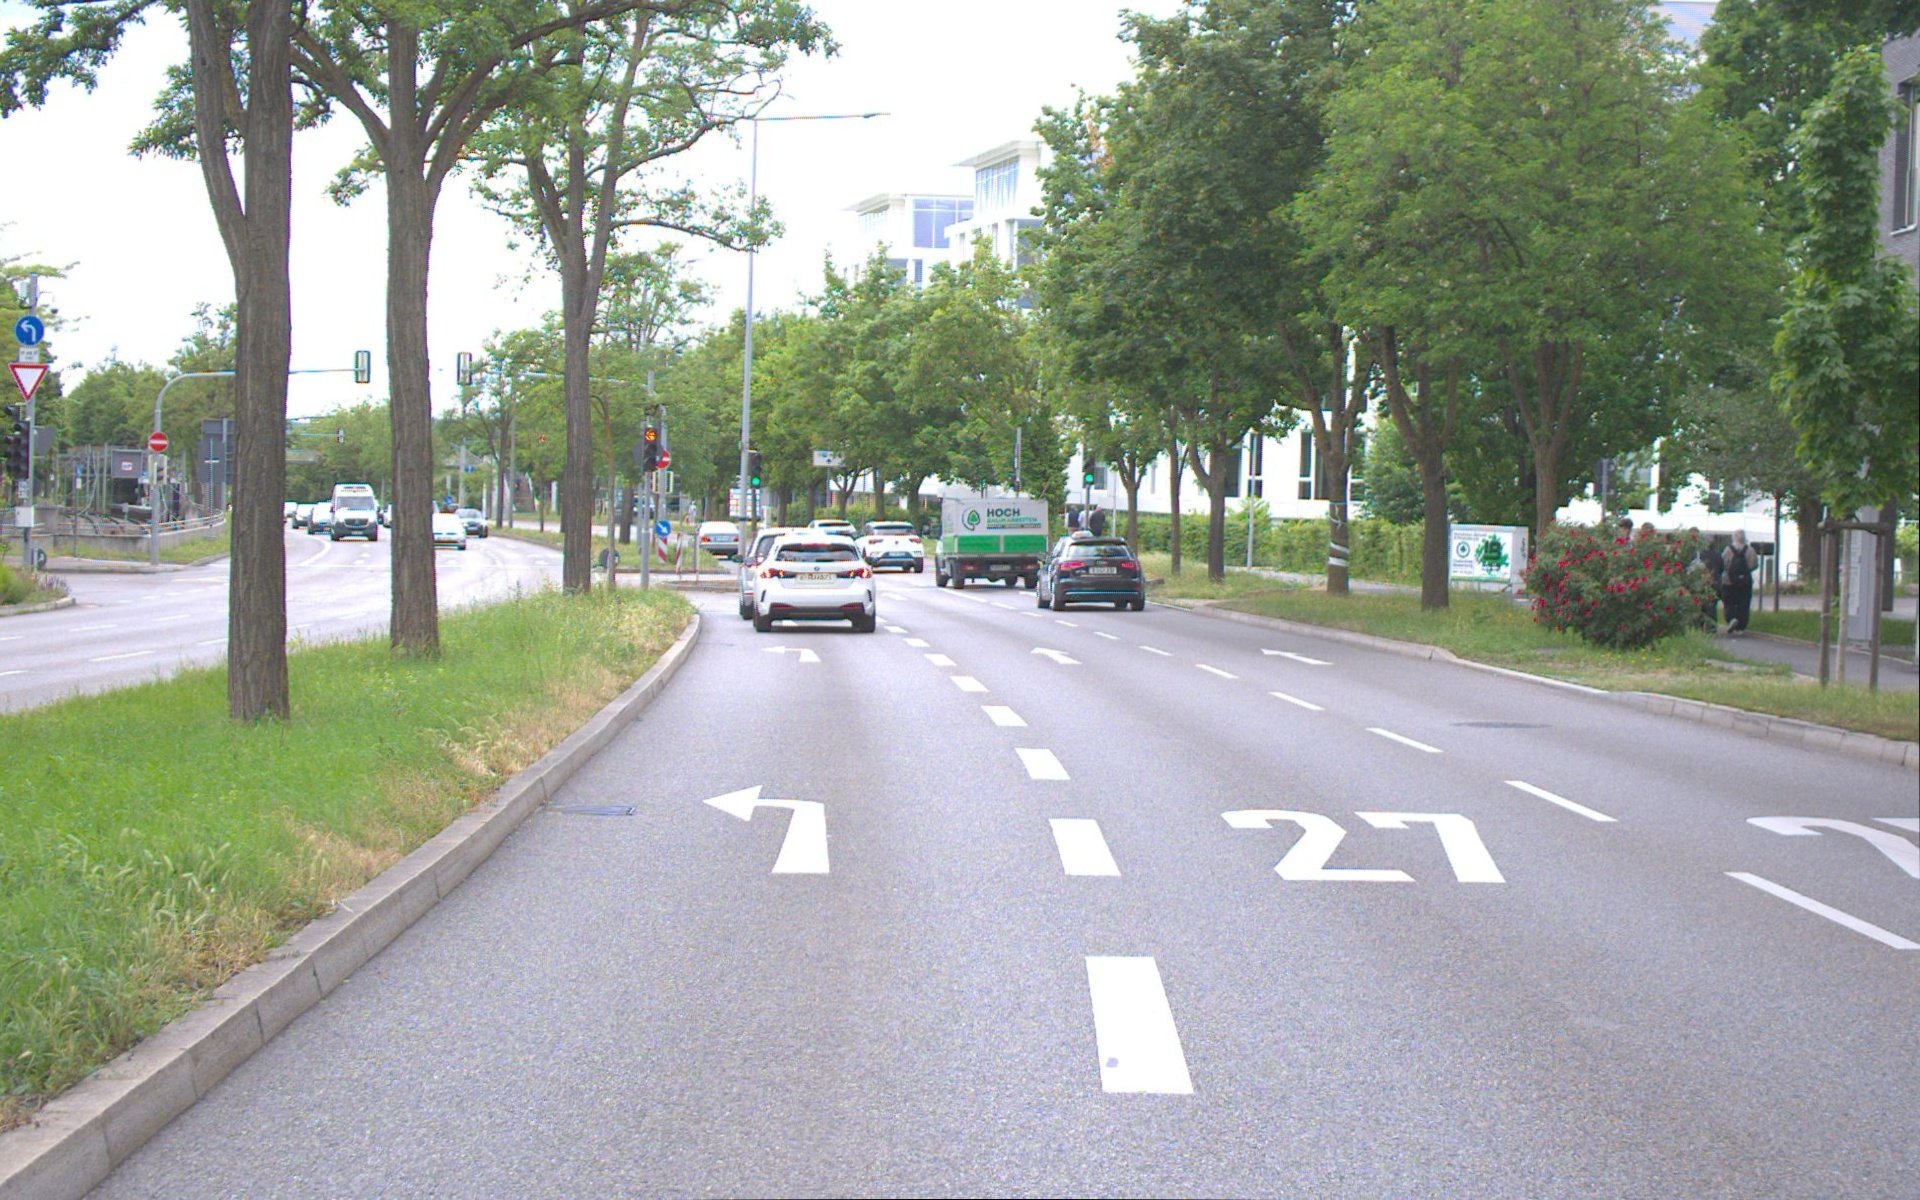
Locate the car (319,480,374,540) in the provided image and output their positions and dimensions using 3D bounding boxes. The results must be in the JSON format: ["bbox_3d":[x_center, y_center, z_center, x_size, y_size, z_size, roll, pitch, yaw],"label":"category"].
[{"bbox_3d":[-28.424,-4.169,159.376,1.993,2.625,5.876,3,1,-6],"label":"car"}]

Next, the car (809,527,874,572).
[{"bbox_3d":[-4.166,-1.792,120.314,1.993,1.485,4.001,2,1,-6],"label":"car"}]

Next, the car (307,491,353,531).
[{"bbox_3d":[-33.380,-4.704,182.301,1.993,2.004,4.325,3,1,-6],"label":"car"}]

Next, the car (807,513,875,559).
[{"bbox_3d":[-4.059,-2.192,117.067,1.993,1.503,4.001,1,1,-6],"label":"car"}]

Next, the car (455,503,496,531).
[{"bbox_3d":[-24.399,-4.164,173.100,1.753,1.366,3.780,0,1,-3],"label":"car"}]

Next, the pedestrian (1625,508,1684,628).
[{"bbox_3d":[10.636,-0.496,52.652,0.608,1.769,0.954,1,3,-3],"label":"pedestrian"}]

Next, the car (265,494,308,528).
[{"bbox_3d":[-38.759,-5.125,197.907,1.993,1.846,4.325,3,1,-6],"label":"car"}]

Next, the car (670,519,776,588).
[{"bbox_3d":[-5.464,-1.069,79.593,1.994,1.503,4.000,1,1,2],"label":"car"}]

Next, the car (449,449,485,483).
[{"bbox_3d":[-31.166,-8.462,217.392,1.993,2.004,4.325,3,1,-6],"label":"car"}]

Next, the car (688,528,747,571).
[{"bbox_3d":[-8.844,-1.842,125.052,1.993,1.485,4.001,2,1,-6],"label":"car"}]

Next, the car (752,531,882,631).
[{"bbox_3d":[-2.157,-0.300,52.729,1.863,1.444,4.000,1,1,-1],"label":"car"}]

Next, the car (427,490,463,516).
[{"bbox_3d":[-35.227,-6.631,235.151,1.993,1.612,4.001,3,1,-3],"label":"car"}]

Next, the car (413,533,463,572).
[{"bbox_3d":[-21.175,-1.948,139.467,1.752,1.439,4.136,3,1,-6],"label":"car"}]

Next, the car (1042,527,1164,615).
[{"bbox_3d":[2.702,-0.580,65.868,1.993,1.590,4.001,1,1,-2],"label":"car"}]

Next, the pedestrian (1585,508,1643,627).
[{"bbox_3d":[9.993,-0.499,52.582,0.608,1.769,0.954,1,3,-3],"label":"pedestrian"}]

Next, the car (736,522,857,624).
[{"bbox_3d":[-2.830,-0.475,59.697,1.993,1.666,4.000,1,1,-3],"label":"car"}]

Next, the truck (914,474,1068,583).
[{"bbox_3d":[0.693,-1.722,84.196,2.858,2.511,6.289,1,1,-8],"label":"truck"}]

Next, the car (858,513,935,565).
[{"bbox_3d":[-1.945,-1.868,104.357,1.993,1.503,4.001,1,1,-6],"label":"car"}]
